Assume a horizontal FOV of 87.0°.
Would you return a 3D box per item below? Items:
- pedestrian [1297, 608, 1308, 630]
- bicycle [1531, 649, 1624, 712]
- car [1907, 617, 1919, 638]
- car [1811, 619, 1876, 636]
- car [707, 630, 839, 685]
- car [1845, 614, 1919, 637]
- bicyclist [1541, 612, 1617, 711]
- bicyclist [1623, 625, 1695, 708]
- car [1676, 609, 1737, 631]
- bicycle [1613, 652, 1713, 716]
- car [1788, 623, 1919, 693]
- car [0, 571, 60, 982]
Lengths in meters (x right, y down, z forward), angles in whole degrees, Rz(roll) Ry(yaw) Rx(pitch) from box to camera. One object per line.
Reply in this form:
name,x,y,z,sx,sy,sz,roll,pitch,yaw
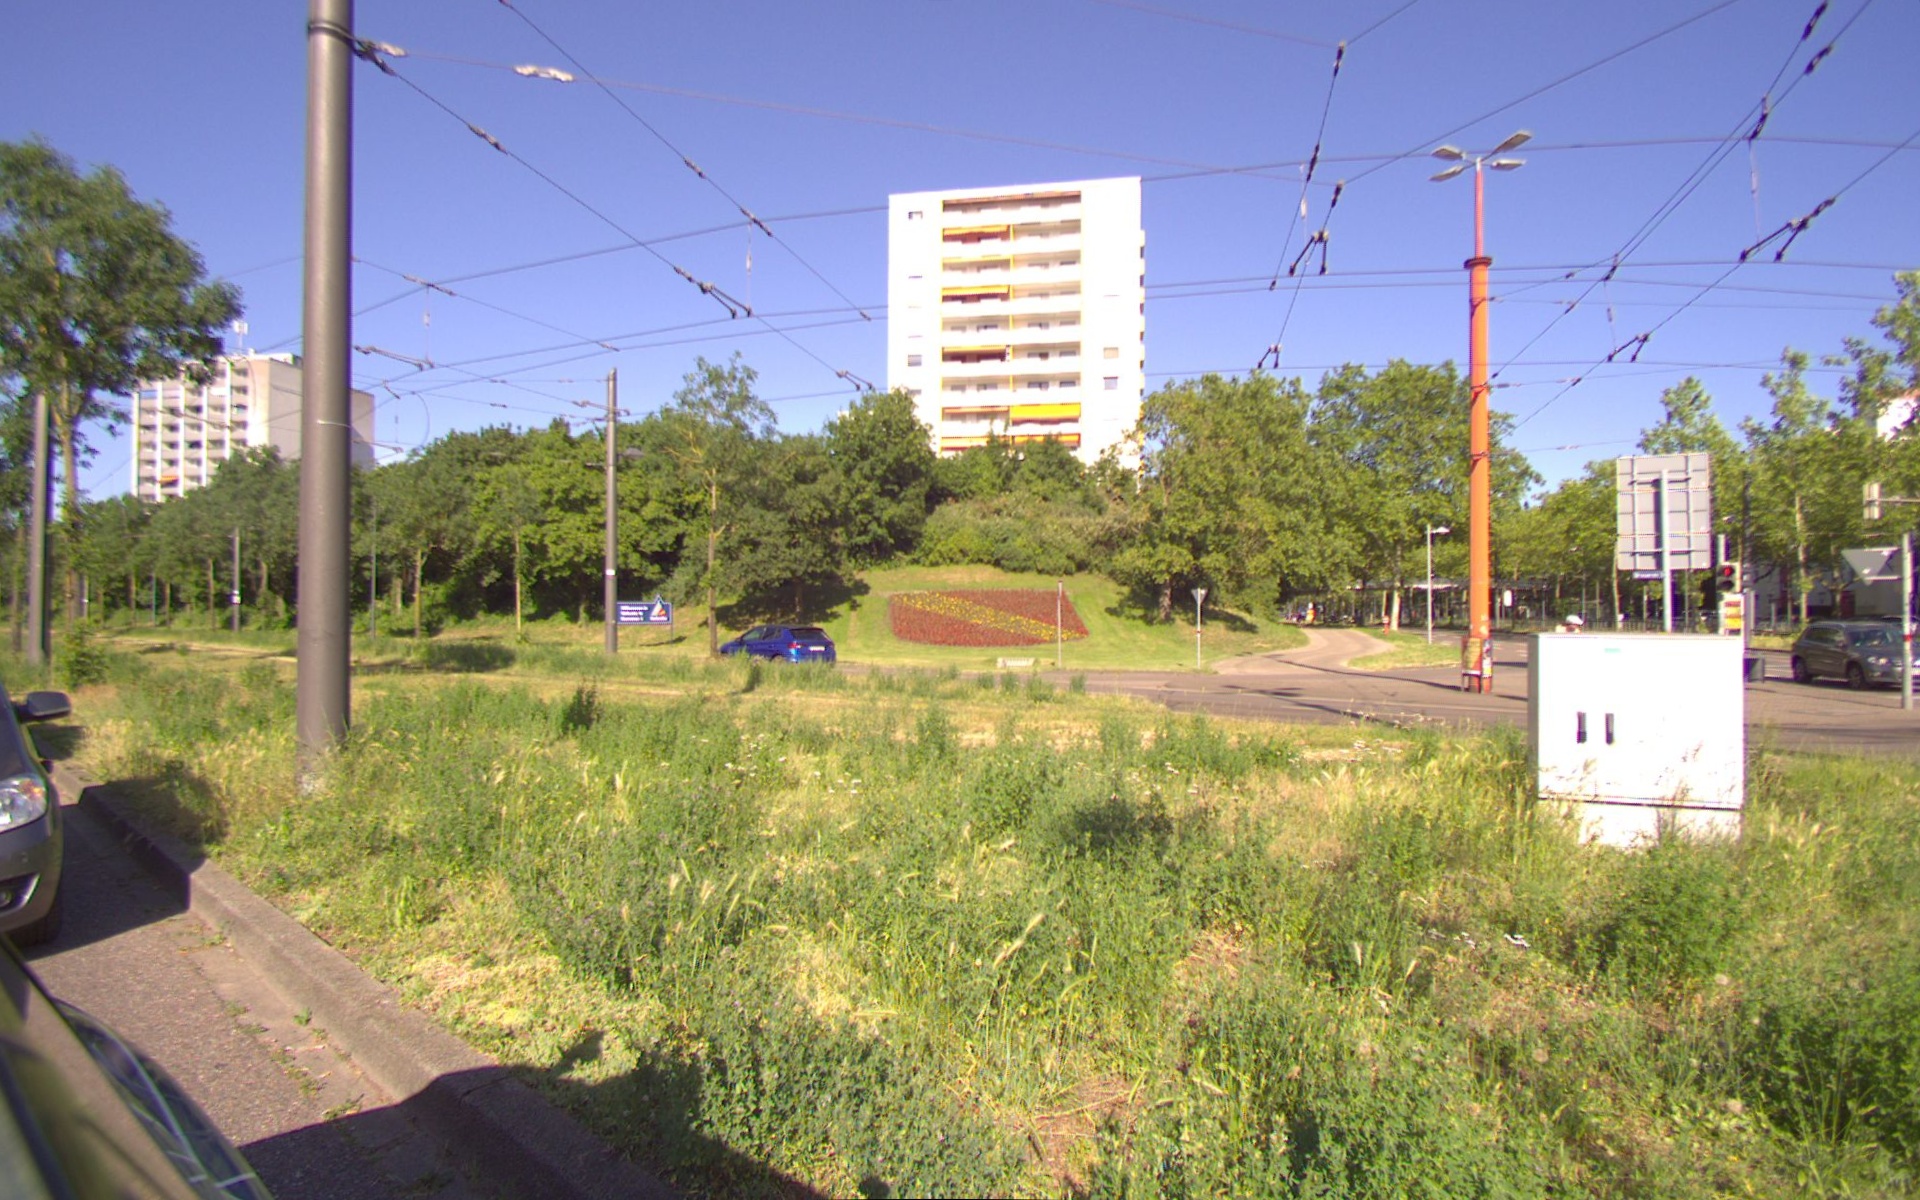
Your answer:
pedestrian,25.395,1.401,75.000,0.682,1.568,0.984,-1,0,21
bicycle,12.078,1.546,19.876,0.571,1.079,1.917,-1,0,-2
car,63.699,1.774,65.145,1.472,1.341,3.746,-1,0,-27
car,64.419,1.986,73.828,1.425,1.197,3.423,-1,0,-41
car,-5.260,1.551,28.214,3.908,1.431,1.557,-1,-2,42
car,63.814,1.741,69.977,1.589,1.471,3.656,-1,0,-38
bicyclist,12.124,1.189,19.858,0.880,1.881,0.924,-1,0,-2
bicyclist,13.500,1.263,19.573,0.710,1.536,0.924,-1,0,0
car,72.158,1.937,97.854,1.909,1.999,4.350,1,-2,-38
bicycle,13.513,1.593,19.523,0.571,1.079,1.916,-1,0,0
car,23.025,1.390,25.403,1.900,1.507,4.026,-1,0,15
car,-5.816,0.750,4.878,3.998,1.652,1.726,-1,0,41
